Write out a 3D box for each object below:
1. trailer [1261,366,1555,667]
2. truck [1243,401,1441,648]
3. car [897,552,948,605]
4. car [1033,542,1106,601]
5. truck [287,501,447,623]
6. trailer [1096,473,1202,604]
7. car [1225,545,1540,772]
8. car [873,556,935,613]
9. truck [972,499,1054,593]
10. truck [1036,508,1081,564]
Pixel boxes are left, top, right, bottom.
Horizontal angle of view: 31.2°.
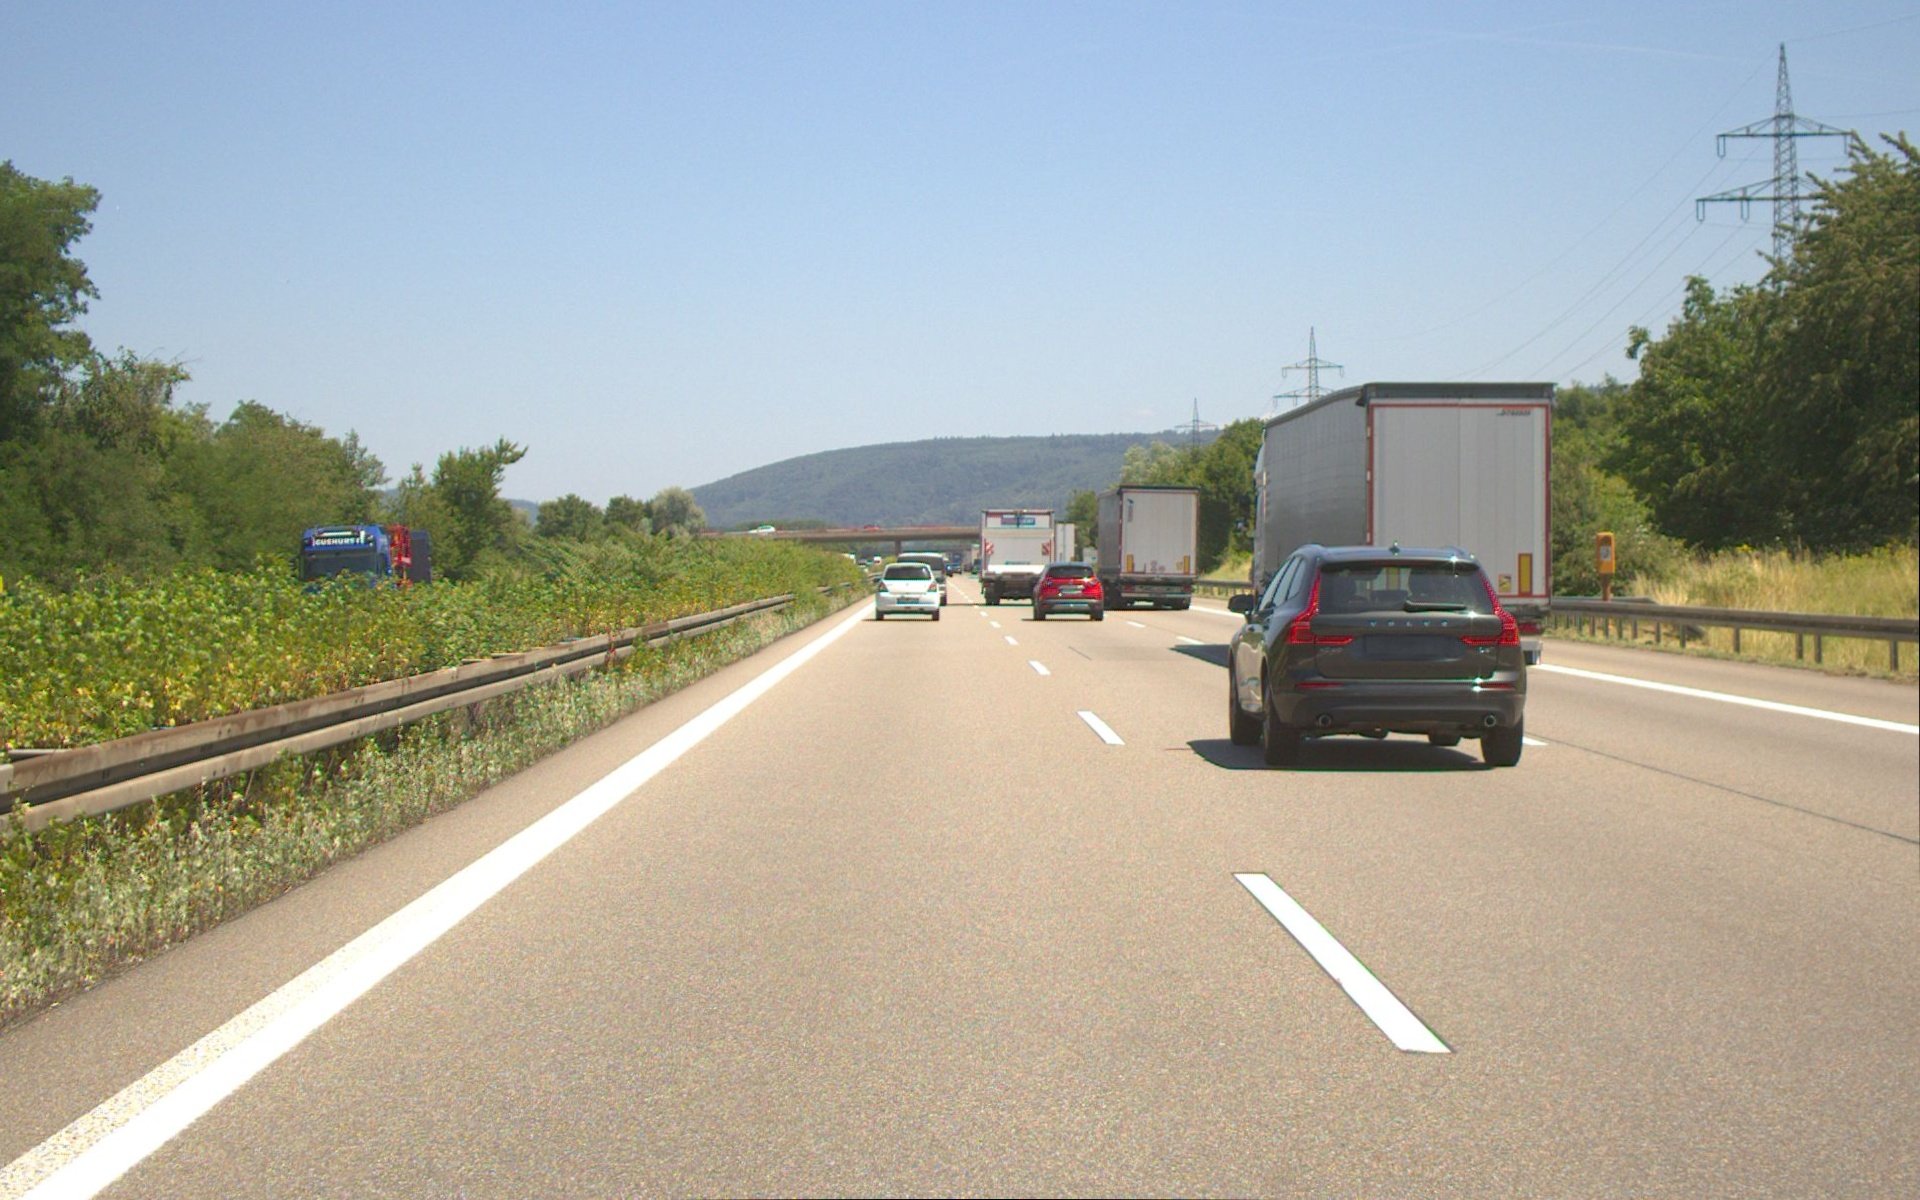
[{"bbox_3d":[6.668,-1.213,53.364,2.736,4.092,13.123,0,1,0],"label":"trailer"},{"bbox_3d":[6.615,-1.295,60.344,2.736,4.105,6.125,0,1,0],"label":"truck"},{"bbox_3d":[-1.360,-0.786,123.066,1.760,1.844,4.000,0,1,-1],"label":"car"},{"bbox_3d":[2.897,-0.769,91.590,1.803,1.540,4.000,0,1,0],"label":"car"},{"bbox_3d":[-18.042,-1.169,105.410,2.787,3.421,11.981,-2,1,0],"label":"truck"},{"bbox_3d":[6.352,-2.056,117.593,2.789,4.149,13.574,-1,1,0],"label":"trailer"},{"bbox_3d":[3.163,0.390,26.494,1.873,1.618,4.004,0,1,-1],"label":"car"},{"bbox_3d":[-1.485,-0.420,91.177,1.607,1.463,4.000,0,1,-1],"label":"car"},{"bbox_3d":[1.904,-1.955,126.640,2.782,3.361,8.128,0,0,-1],"label":"truck"},{"bbox_3d":[5.837,-3.791,204.395,2.221,3.198,10.385,-1,1,0],"label":"truck"}]
